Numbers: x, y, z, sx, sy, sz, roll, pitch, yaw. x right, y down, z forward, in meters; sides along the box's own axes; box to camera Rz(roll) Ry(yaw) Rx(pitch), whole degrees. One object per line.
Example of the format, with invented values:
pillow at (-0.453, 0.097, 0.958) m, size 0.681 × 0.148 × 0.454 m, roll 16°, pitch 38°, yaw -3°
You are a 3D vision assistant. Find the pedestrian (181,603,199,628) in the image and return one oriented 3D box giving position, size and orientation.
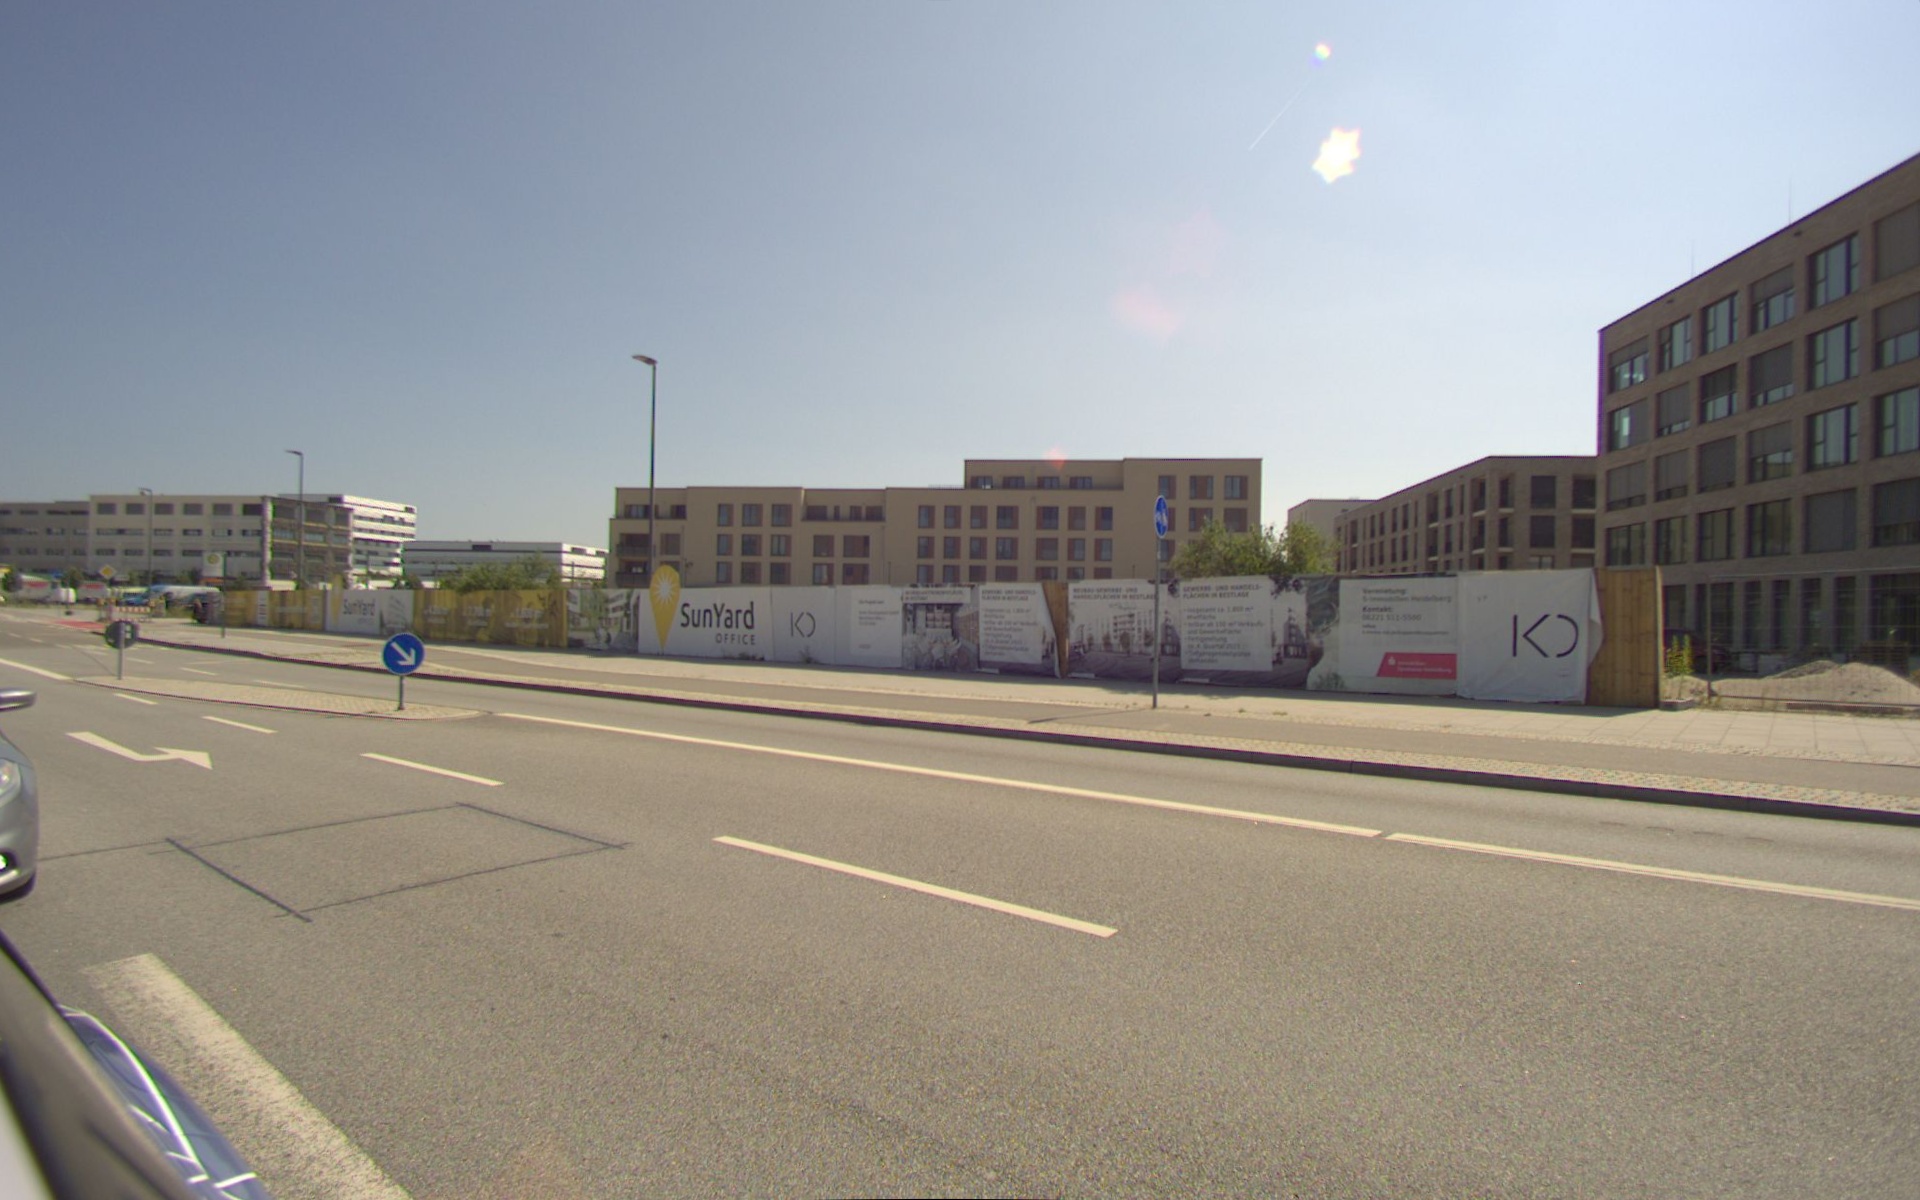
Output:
pedestrian at (-49.047, 0.985, 64.480) m, size 0.610 × 1.598 × 0.703 m, roll -1°, pitch 0°, yaw 5°

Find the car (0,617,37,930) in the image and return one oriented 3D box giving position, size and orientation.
car at (-6.325, 0.801, 5.296) m, size 4.134 × 1.390 × 1.762 m, roll -1°, pitch 0°, yaw 41°
